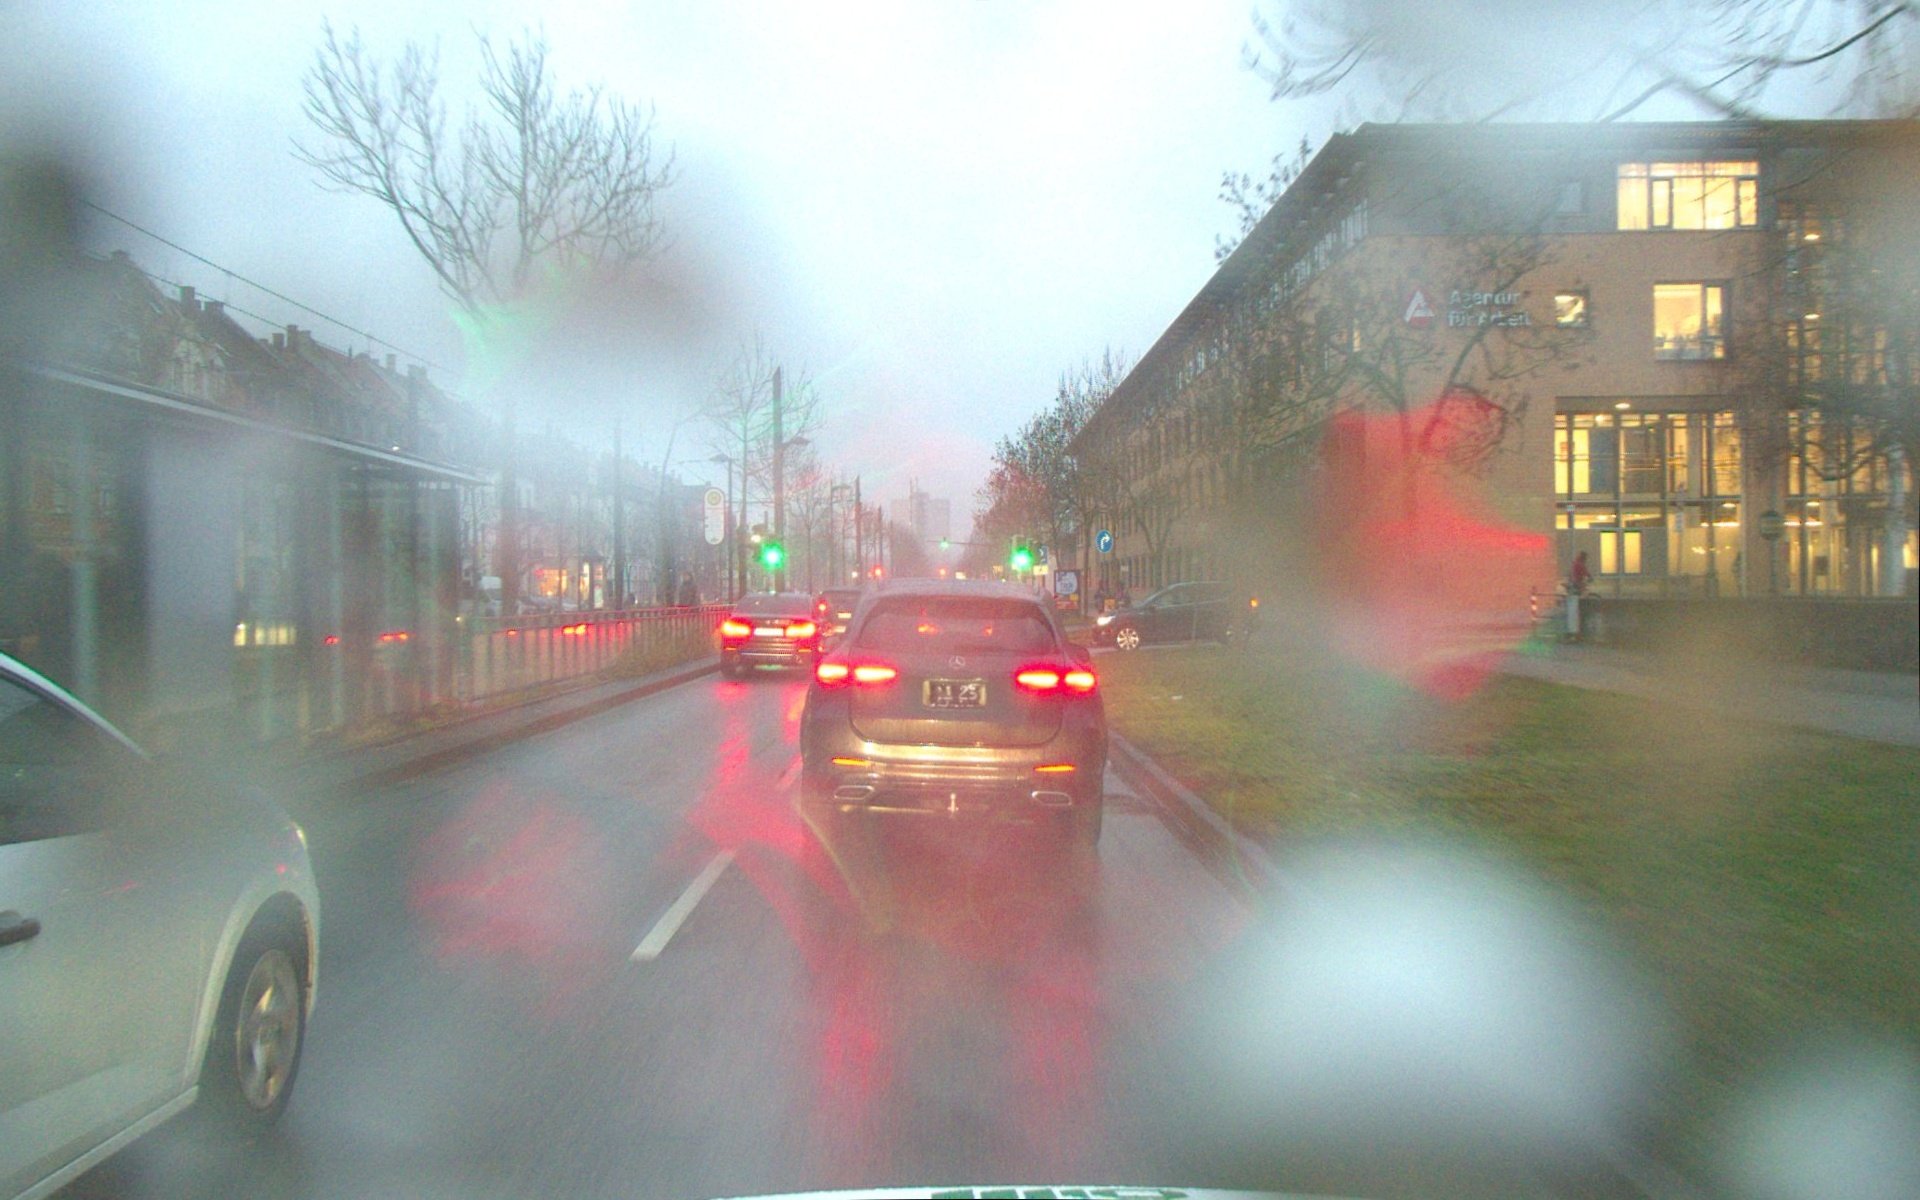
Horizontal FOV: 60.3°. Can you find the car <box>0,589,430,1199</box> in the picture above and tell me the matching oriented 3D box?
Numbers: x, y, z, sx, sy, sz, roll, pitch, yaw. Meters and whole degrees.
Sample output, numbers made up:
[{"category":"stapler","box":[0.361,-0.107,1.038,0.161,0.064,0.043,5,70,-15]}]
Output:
[{"category":"car","box":[-2.468,0.774,3.089,1.593,1.513,4.001,-1,1,1]}]

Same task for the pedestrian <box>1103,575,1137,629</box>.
[{"category":"pedestrian","box":[4.932,0.056,50.864,0.888,1.624,0.499,-1,0,42]}]

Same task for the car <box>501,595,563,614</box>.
[{"category":"car","box":[-28.982,0.299,112.085,3.694,1.176,1.650,-2,0,5]}]

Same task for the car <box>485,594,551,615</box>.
[{"category":"car","box":[-28.265,0.273,105.701,3.694,1.176,1.650,-2,0,5]}]

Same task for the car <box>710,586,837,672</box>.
[{"category":"car","box":[-3.340,0.479,30.324,1.953,1.422,3.999,-1,0,-2]}]

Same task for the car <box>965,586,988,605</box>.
[{"category":"car","box":[1.485,-0.431,148.365,1.953,1.626,3.999,-2,0,-1]}]

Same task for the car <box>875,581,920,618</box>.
[{"category":"car","box":[-2.866,-0.047,76.832,1.953,1.646,3.999,-1,0,-1]}]

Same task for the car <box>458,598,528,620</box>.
[{"category":"car","box":[-27.987,0.556,99.192,3.694,1.176,1.650,-2,0,5]}]

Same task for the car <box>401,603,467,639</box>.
[{"category":"car","box":[-22.492,0.866,70.794,1.620,1.422,3.766,-2,0,-1]}]

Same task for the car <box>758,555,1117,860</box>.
[{"category":"car","box":[-0.130,0.575,11.155,1.950,1.644,4.000,-1,0,0]}]

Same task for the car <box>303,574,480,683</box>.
[{"category":"car","box":[-10.668,0.492,31.350,1.953,1.854,3.999,-2,0,-1]}]

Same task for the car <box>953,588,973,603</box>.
[{"category":"car","box":[0.330,-0.485,168.760,1.953,1.505,3.999,-2,0,-1]}]

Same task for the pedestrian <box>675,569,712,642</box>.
[{"category":"pedestrian","box":[-5.889,0.109,36.560,0.684,1.579,0.669,-2,0,-1]}]

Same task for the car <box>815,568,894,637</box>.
[{"category":"car","box":[-2.911,0.049,46.322,1.953,1.796,3.999,-1,0,-1]}]

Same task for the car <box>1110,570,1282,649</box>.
[{"category":"car","box":[5.549,0.207,39.260,3.781,1.587,1.765,-4,0,1]}]

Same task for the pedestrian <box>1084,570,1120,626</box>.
[{"category":"pedestrian","box":[4.176,-0.057,48.711,0.888,1.624,0.499,-1,0,42]}]

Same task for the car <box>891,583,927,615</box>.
[{"category":"car","box":[-2.909,-0.095,95.072,1.953,1.734,3.999,-2,0,-1]}]

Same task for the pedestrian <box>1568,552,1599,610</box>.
[{"category":"pedestrian","box":[18.126,-0.544,48.098,0.618,1.666,0.737,-1,0,5]}]
